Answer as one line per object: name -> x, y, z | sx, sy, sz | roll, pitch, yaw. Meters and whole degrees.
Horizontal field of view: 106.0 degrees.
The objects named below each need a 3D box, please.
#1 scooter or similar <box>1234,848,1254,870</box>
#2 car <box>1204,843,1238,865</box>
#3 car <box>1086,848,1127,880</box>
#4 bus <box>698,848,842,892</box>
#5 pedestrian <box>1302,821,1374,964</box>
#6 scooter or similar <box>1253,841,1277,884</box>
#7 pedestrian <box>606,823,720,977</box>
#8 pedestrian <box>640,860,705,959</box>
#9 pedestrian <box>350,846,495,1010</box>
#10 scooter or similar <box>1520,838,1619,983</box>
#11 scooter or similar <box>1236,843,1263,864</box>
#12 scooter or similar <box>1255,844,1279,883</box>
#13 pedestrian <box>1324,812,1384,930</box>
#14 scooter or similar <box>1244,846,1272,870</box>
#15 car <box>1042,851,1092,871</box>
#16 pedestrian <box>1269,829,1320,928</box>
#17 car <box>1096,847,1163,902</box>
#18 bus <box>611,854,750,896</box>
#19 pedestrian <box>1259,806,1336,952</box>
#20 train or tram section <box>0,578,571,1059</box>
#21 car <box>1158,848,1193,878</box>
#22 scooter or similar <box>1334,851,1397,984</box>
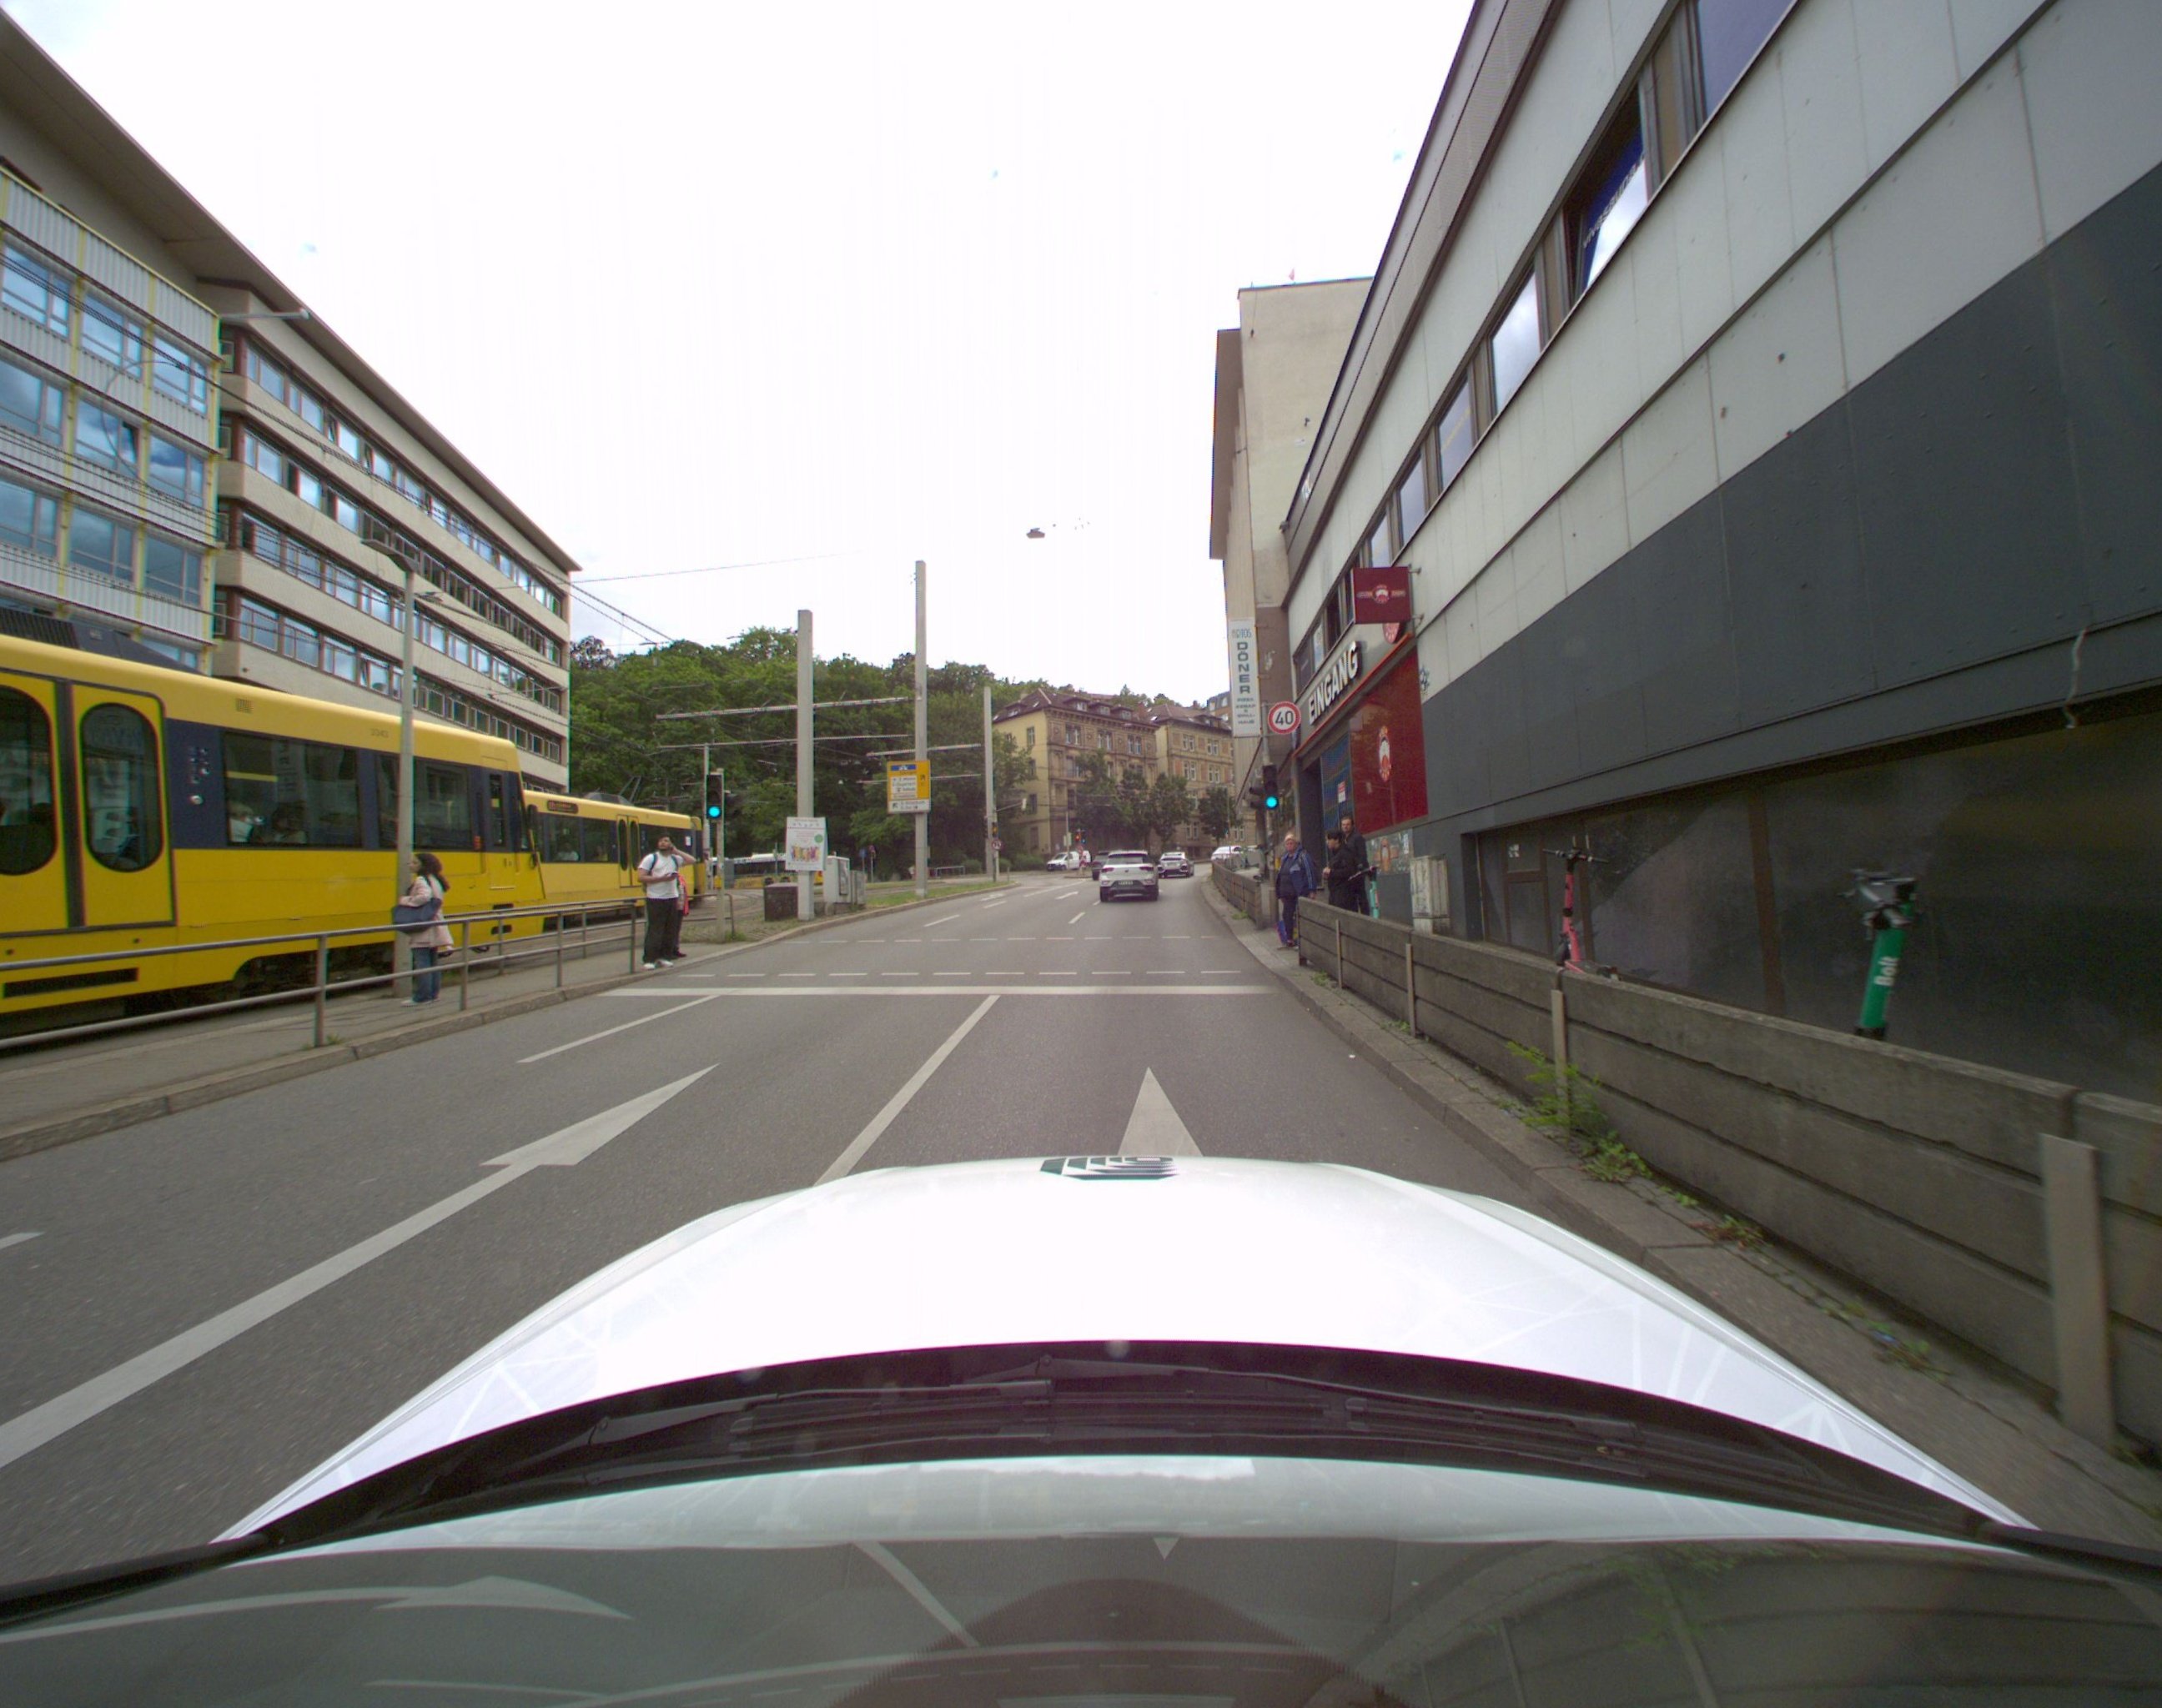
scooter or similar -> 9.019, 0.276, 45.138 | 1.012, 1.182, 0.374 | -2, -1, -23
car -> 10.590, 0.004, 61.538 | 1.922, 1.506, 3.824 | -2, -1, 19
car -> 1.511, 0.558, 46.861 | 1.829, 1.739, 4.010 | -1, 0, 9
bus -> -26.398, 1.350, 69.170 | 11.427, 3.029, 3.403 | -3, 0, 14
pedestrian -> 3.332, 0.495, 10.614 | 0.734, 1.793, 0.656 | -1, -1, 5
scooter or similar -> 6.620, 0.293, 29.321 | 0.664, 1.475, 1.181 | -3, 0, 8
pedestrian -> -5.964, 0.665, 11.649 | 0.958, 2.067, 1.037 | -5, -5, 20
pedestrian -> -6.349, 0.856, 12.667 | 0.571, 1.464, 0.679 | -5, -5, 20
pedestrian -> -6.975, 0.747, 8.685 | 0.673, 1.625, 1.001 | -3, -1, 0
scooter or similar -> 4.612, 0.501, 7.740 | 0.425, 1.276, 0.982 | -2, 0, 9
scooter or similar -> 9.959, -0.008, 48.110 | 1.447, 1.182, 0.578 | -3, -1, -23
scooter or similar -> 6.174, 0.303, 27.139 | 0.627, 1.249, 1.336 | -3, 0, 8
pedestrian -> 4.314, 0.263, 12.907 | 0.723, 1.808, 0.655 | -1, -1, 5
scooter or similar -> 10.104, 0.209, 46.460 | 1.447, 1.254, 0.553 | -4, 0, -23
car -> -1.328, 0.683, 79.641 | 1.975, 1.849, 5.023 | -2, -1, 43
pedestrian -> 3.744, 0.421, 14.307 | 0.559, 1.651, 0.591 | -8, -1, 4
car -> 1.604, 0.626, 26.250 | 1.929, 1.566, 4.051 | -3, -1, 4
bus -> -35.041, 1.826, 71.323 | 11.244, 3.043, 3.337 | -3, 0, 14
pedestrian -> 3.166, 0.361, 11.990 | 0.942, 2.063, 0.779 | -1, -1, 5
train or tram section -> -9.650, -0.232, 5.776 | 2.872, 3.664, 14.472 | -2, -1, 0
car -> 5.302, 0.514, 45.983 | 1.893, 1.574, 3.840 | -1, -1, 5
scooter or similar -> 2.875, 0.614, 8.281 | 0.352, 1.276, 0.814 | -2, 0, 3
